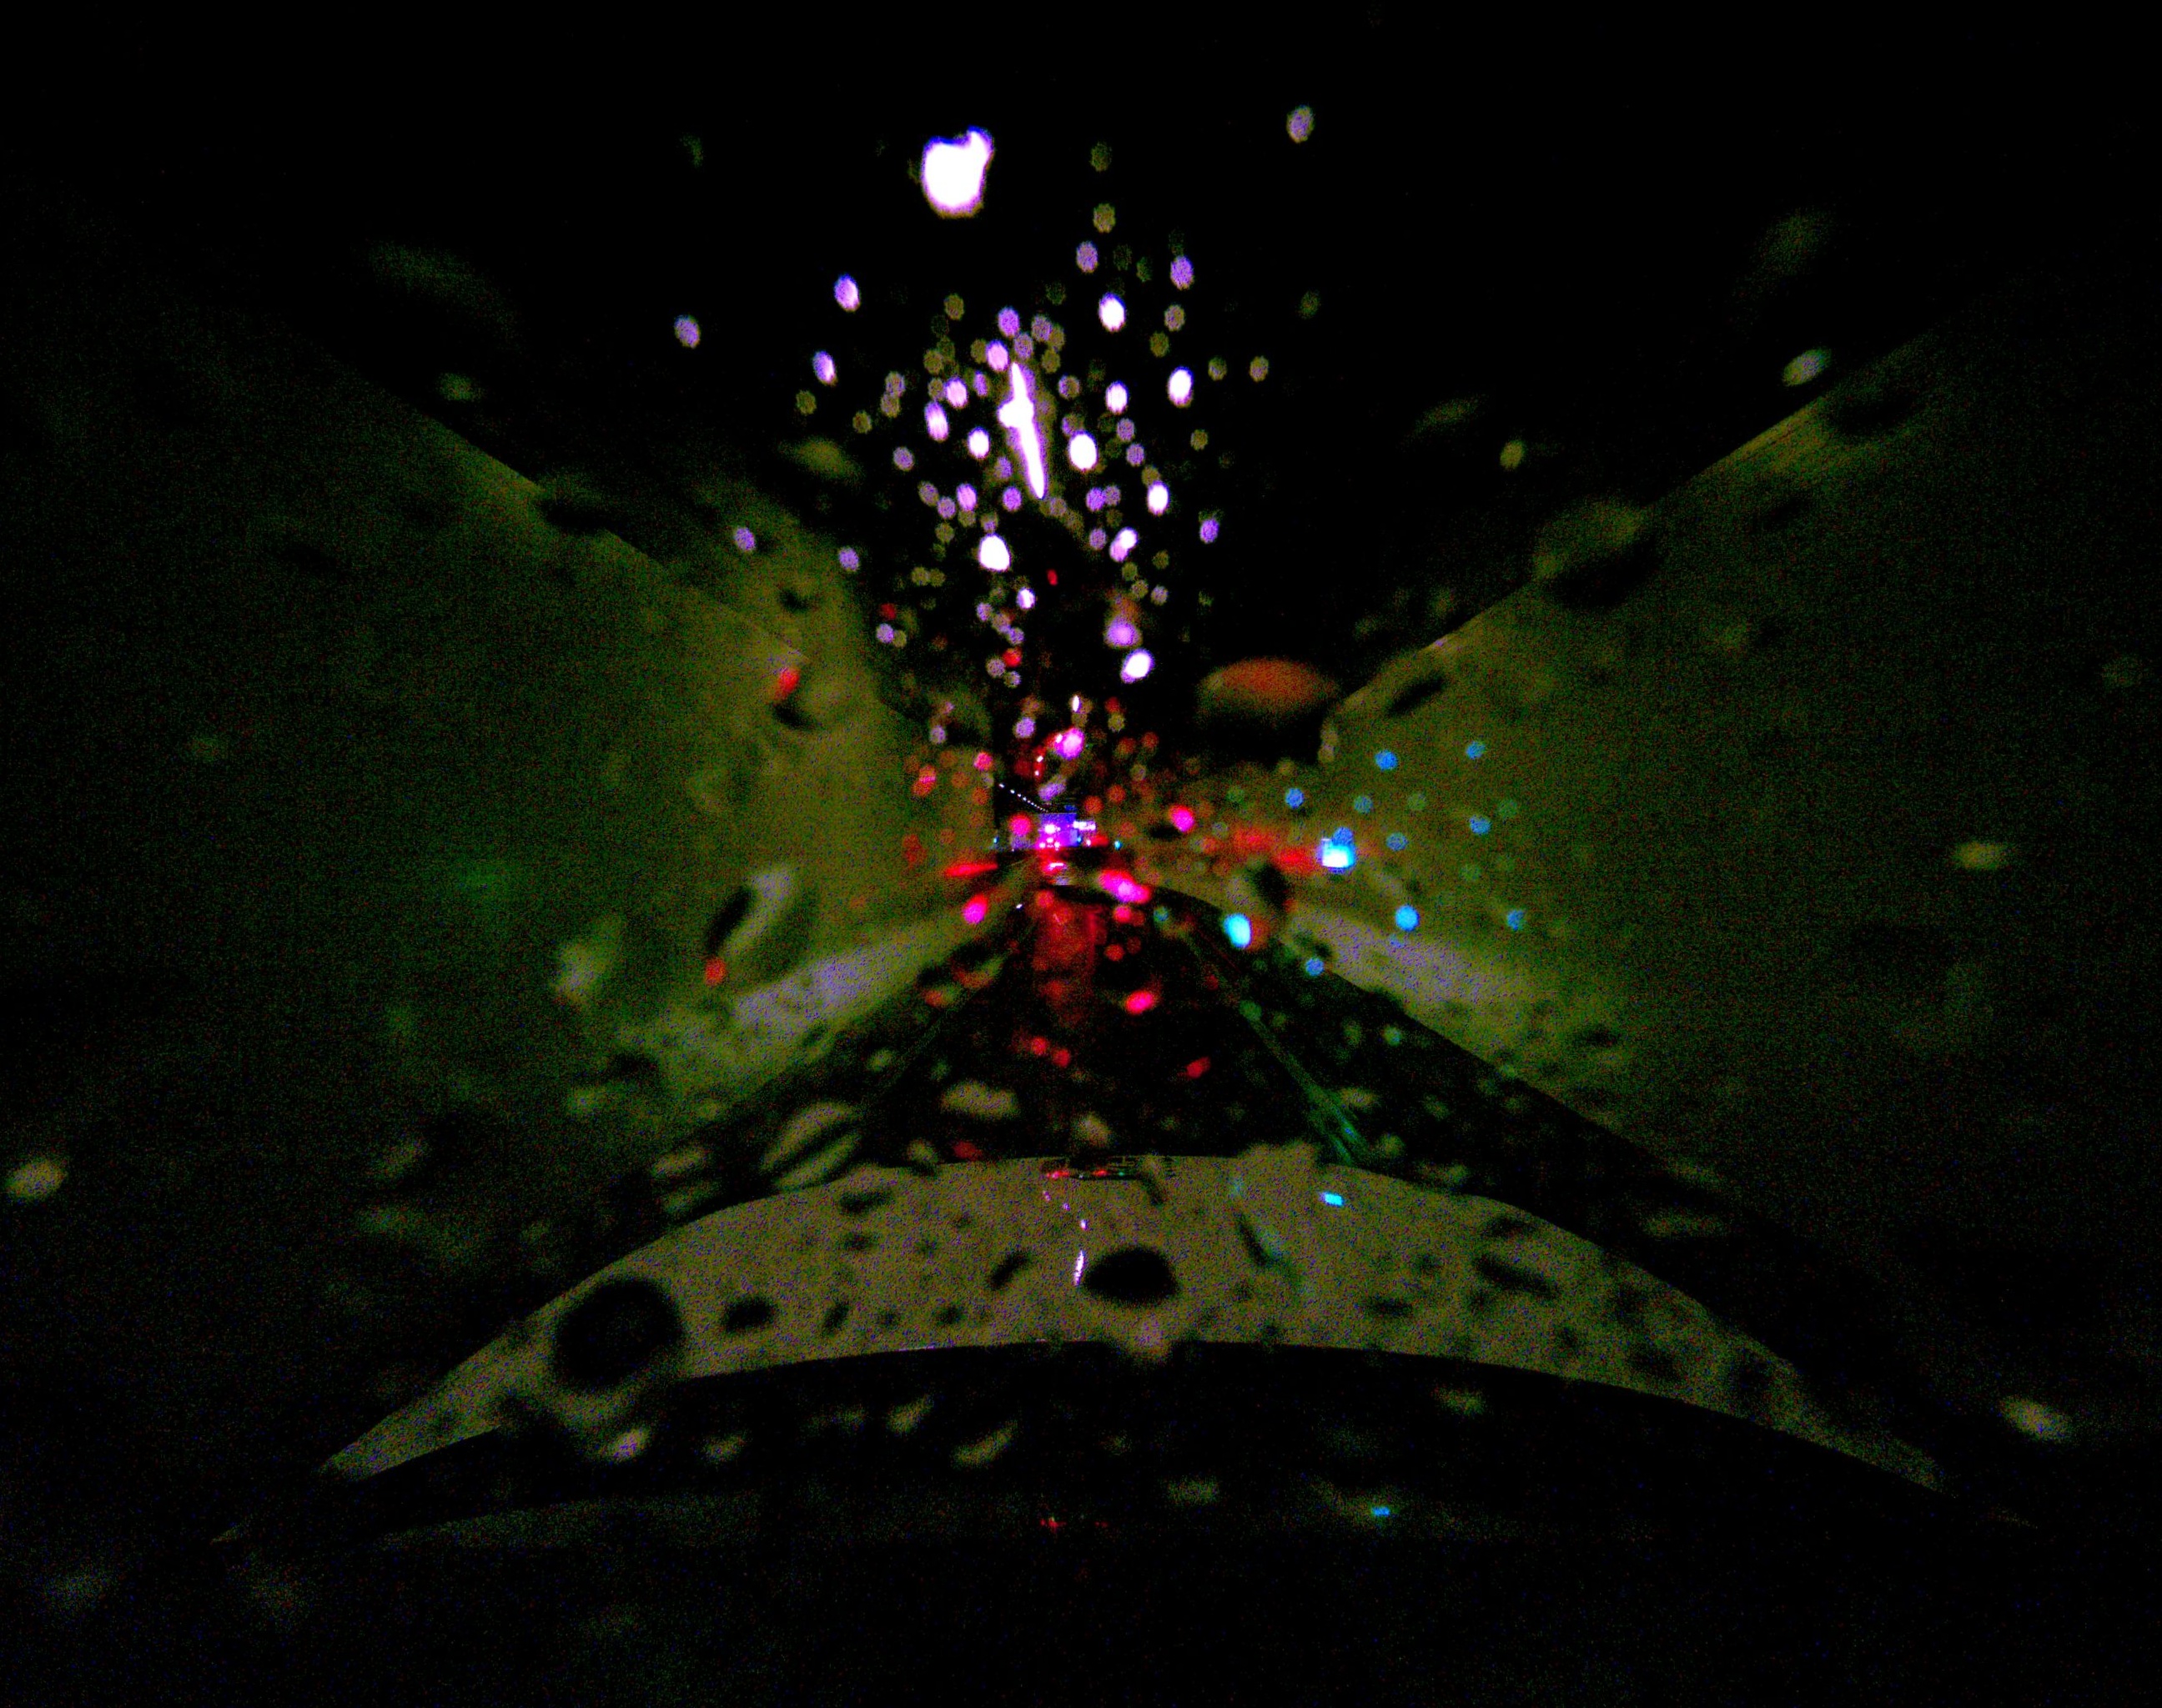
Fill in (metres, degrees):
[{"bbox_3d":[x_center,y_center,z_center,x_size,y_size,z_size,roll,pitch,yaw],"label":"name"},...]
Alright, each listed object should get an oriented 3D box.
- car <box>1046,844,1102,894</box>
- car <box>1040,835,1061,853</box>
[{"bbox_3d":[-0.285,0.416,25.055,1.529,1.397,3.429,-1,1,-4],"label":"car"},{"bbox_3d":[-2.978,-0.941,78.085,1.877,1.620,3.994,0,0,-4],"label":"car"}]
